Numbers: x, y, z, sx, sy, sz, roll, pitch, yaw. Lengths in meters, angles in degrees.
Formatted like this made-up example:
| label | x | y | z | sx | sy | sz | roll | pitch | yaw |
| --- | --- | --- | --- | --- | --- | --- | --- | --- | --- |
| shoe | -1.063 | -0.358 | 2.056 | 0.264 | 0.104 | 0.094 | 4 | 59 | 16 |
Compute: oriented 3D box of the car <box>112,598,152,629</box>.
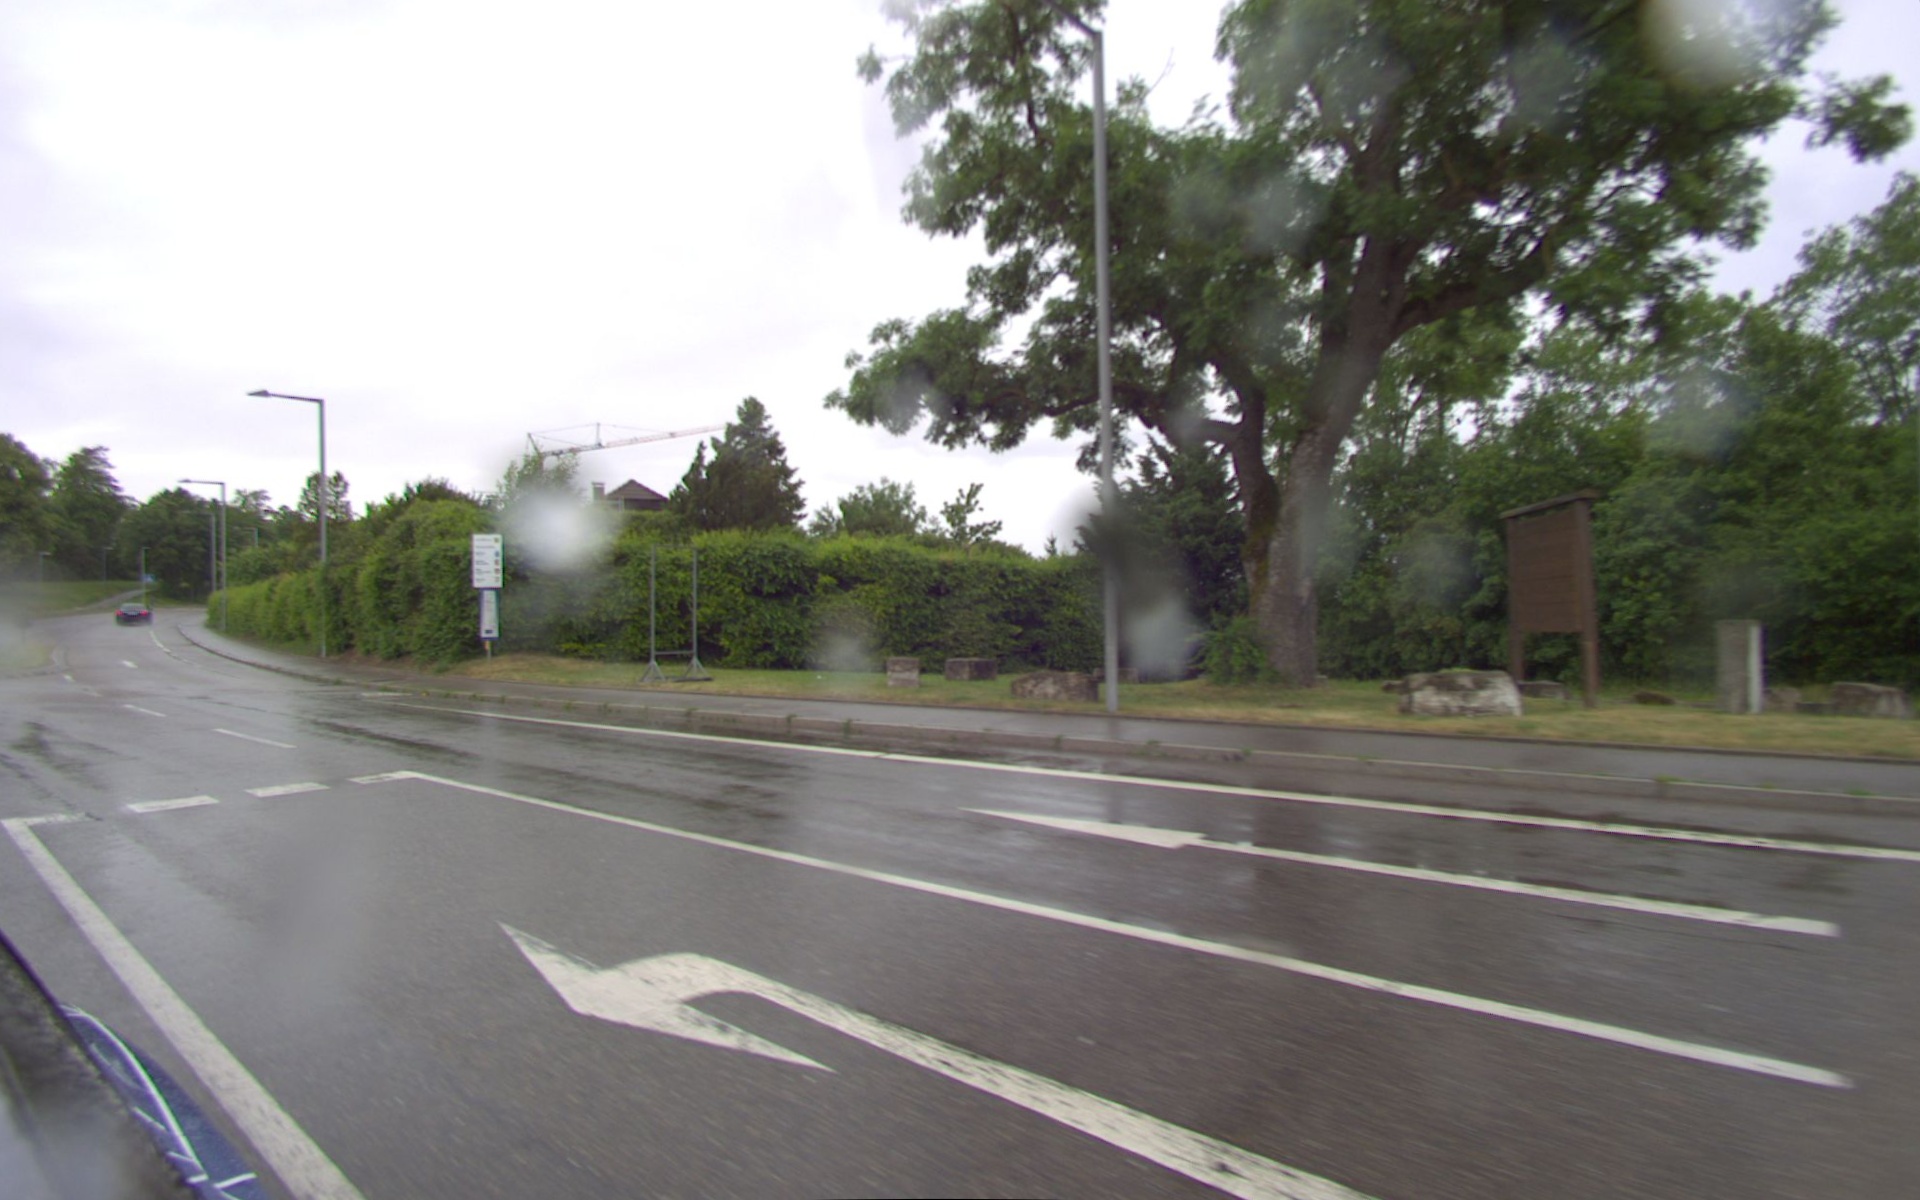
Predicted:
| label | x | y | z | sx | sy | sz | roll | pitch | yaw |
| --- | --- | --- | --- | --- | --- | --- | --- | --- | --- |
| car | -55.933 | 0.916 | 68.426 | 1.936 | 2.029 | 4.009 | 0 | 0 | -37 |
